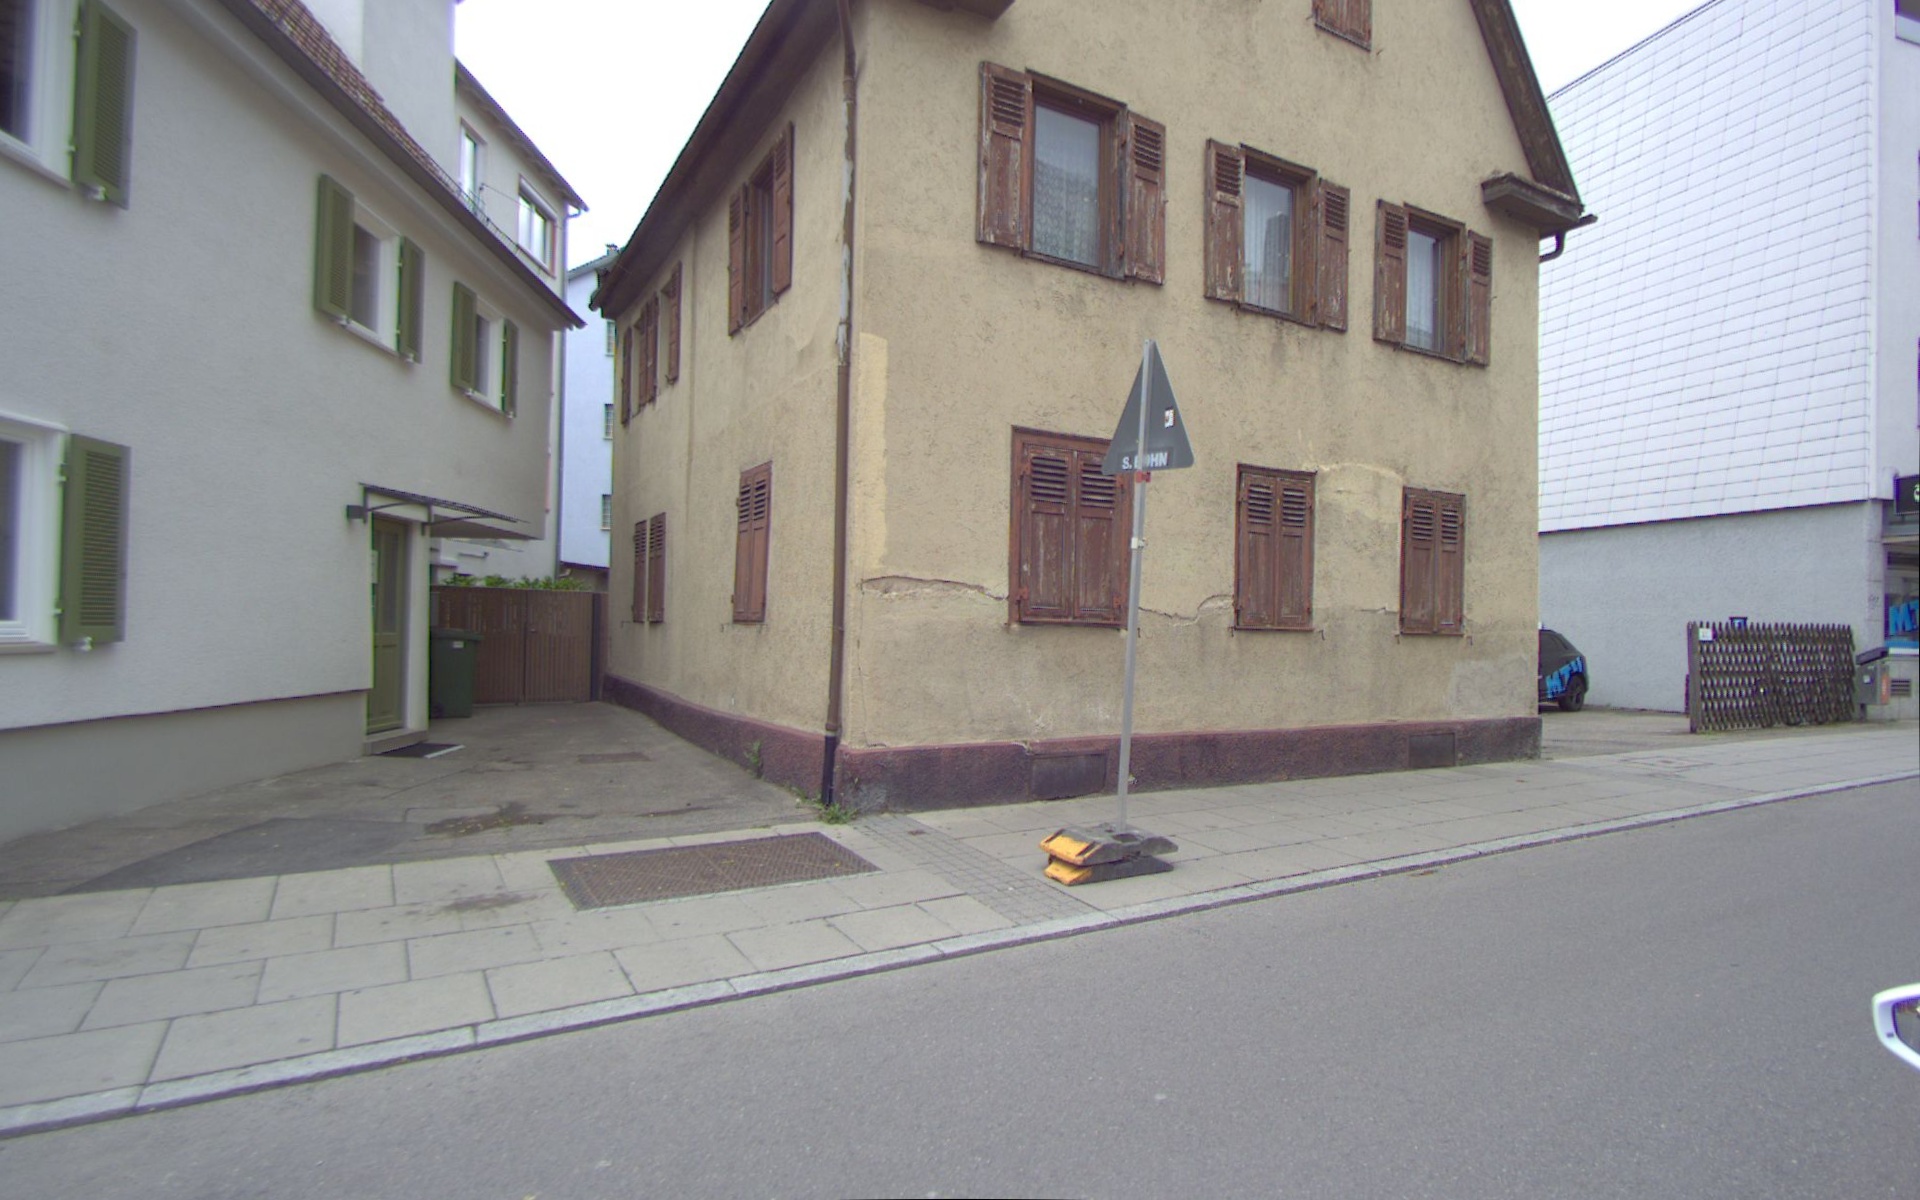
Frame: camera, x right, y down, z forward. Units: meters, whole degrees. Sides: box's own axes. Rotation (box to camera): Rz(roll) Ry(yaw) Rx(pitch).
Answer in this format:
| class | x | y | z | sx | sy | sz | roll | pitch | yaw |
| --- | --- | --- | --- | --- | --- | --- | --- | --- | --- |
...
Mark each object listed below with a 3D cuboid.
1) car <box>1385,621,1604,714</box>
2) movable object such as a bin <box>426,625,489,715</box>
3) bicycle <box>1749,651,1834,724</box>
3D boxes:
| class | x | y | z | sx | sy | sz | roll | pitch | yaw |
| --- | --- | --- | --- | --- | --- | --- | --- | --- | --- |
| car | 10.276 | 1.199 | 19.229 | 4.244 | 1.584 | 1.981 | 1 | -1 | -34 |
| movable object such as a bin | -6.150 | 0.836 | 12.280 | 0.640 | 0.994 | 0.853 | 0 | 2 | -30 |
| bicycle | 13.042 | 1.355 | 15.739 | 1.725 | 1.067 | 0.322 | 1 | -1 | -25 |
